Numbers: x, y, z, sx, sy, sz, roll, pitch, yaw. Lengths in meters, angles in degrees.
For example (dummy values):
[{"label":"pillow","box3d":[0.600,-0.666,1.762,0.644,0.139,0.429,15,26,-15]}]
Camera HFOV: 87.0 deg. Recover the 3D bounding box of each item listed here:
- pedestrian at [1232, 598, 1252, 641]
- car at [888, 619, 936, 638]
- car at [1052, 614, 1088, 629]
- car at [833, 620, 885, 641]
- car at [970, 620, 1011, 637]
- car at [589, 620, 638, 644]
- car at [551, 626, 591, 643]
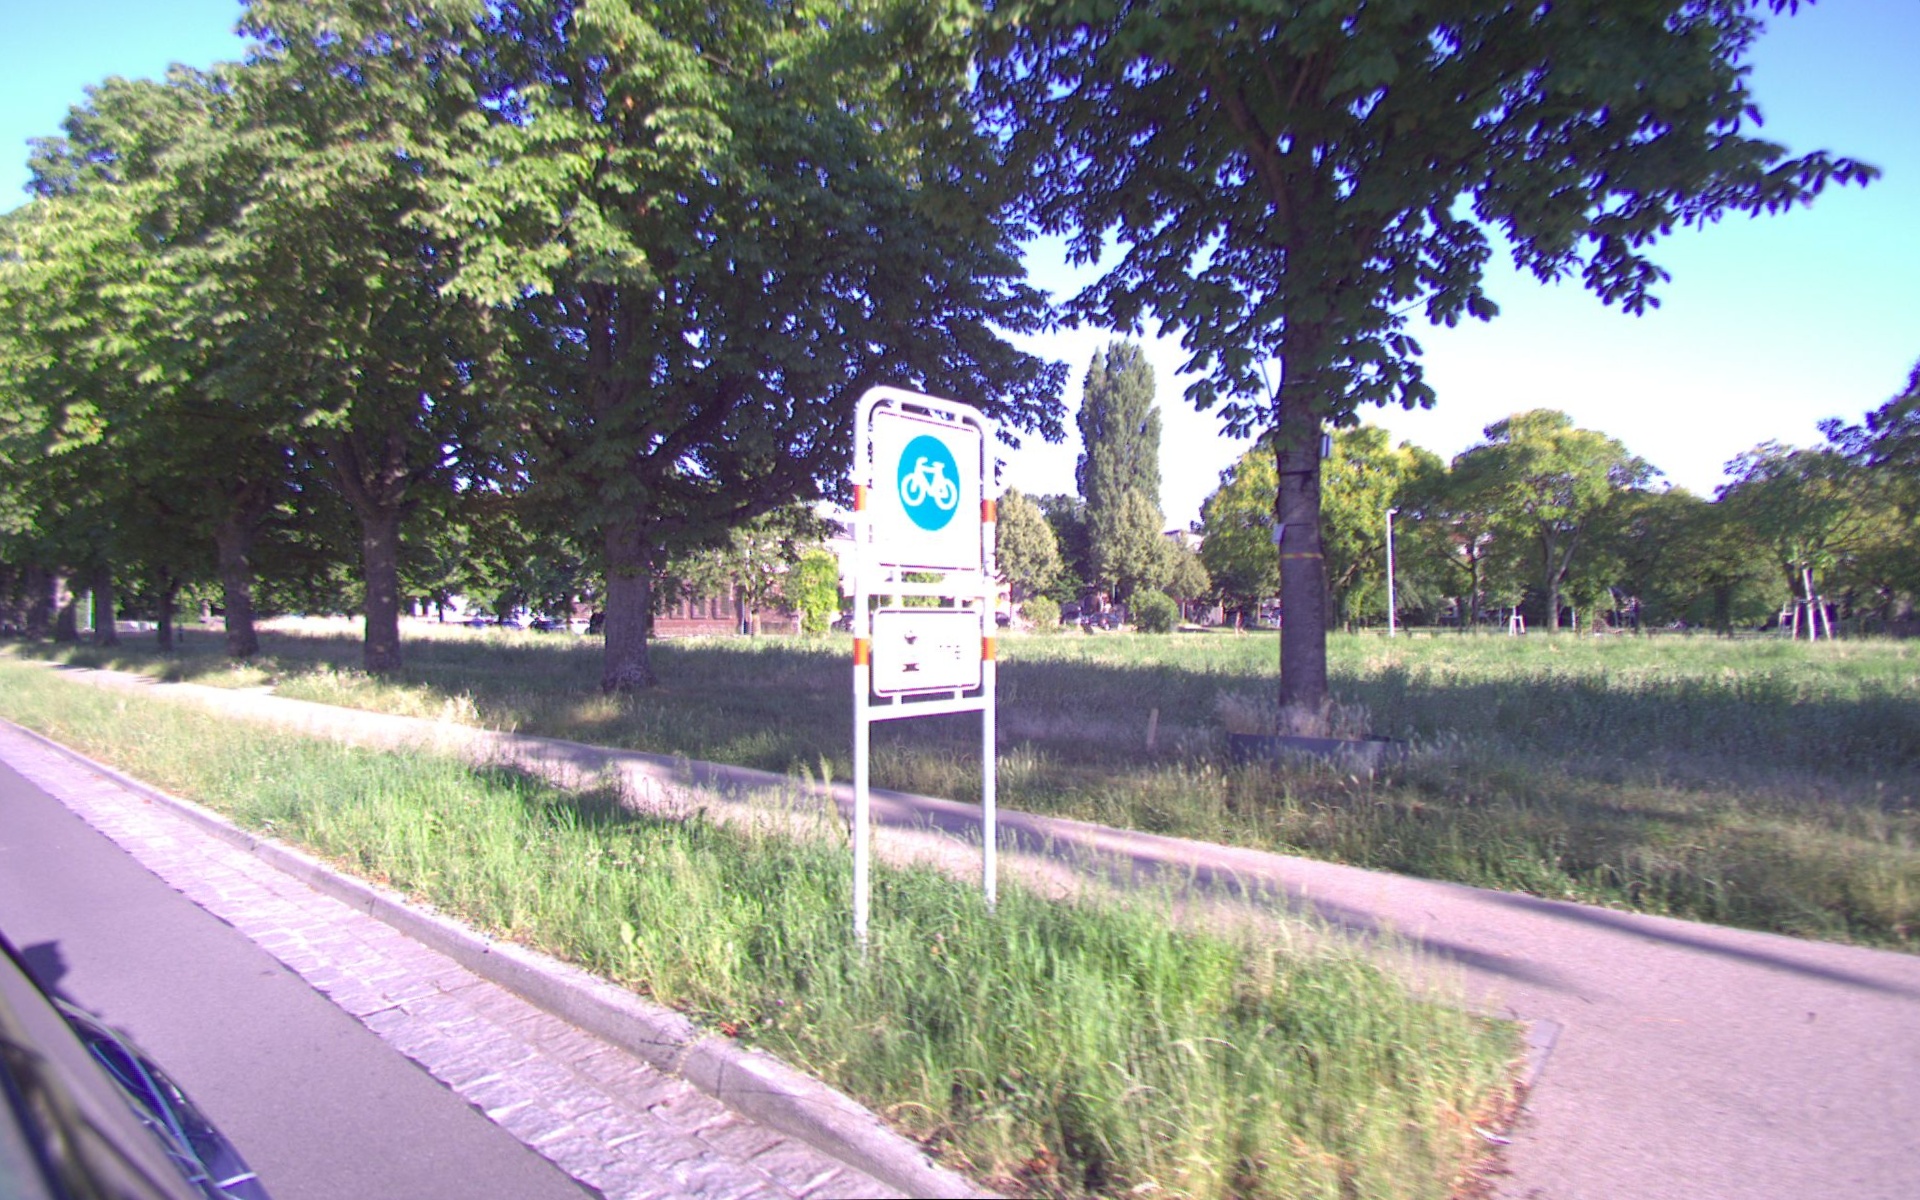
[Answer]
[{"label":"pedestrian","box3d":[11.372,0.784,40.878,0.709,1.737,0.774,-1,0,13]},{"label":"car","box3d":[-3.628,2.155,76.976,1.586,1.290,3.589,0,0,42]},{"label":"car","box3d":[10.356,1.984,95.371,1.586,1.290,3.589,0,0,42]},{"label":"car","box3d":[-7.204,2.166,72.382,1.586,1.290,3.589,0,0,42]},{"label":"car","box3d":[2.638,2.440,86.260,1.586,1.290,3.589,0,0,42]},{"label":"car","box3d":[-23.432,2.138,68.357,3.639,1.492,1.564,0,0,42]},{"label":"car","box3d":[-32.060,2.802,83.361,3.580,1.284,1.564,0,0,42]}]
